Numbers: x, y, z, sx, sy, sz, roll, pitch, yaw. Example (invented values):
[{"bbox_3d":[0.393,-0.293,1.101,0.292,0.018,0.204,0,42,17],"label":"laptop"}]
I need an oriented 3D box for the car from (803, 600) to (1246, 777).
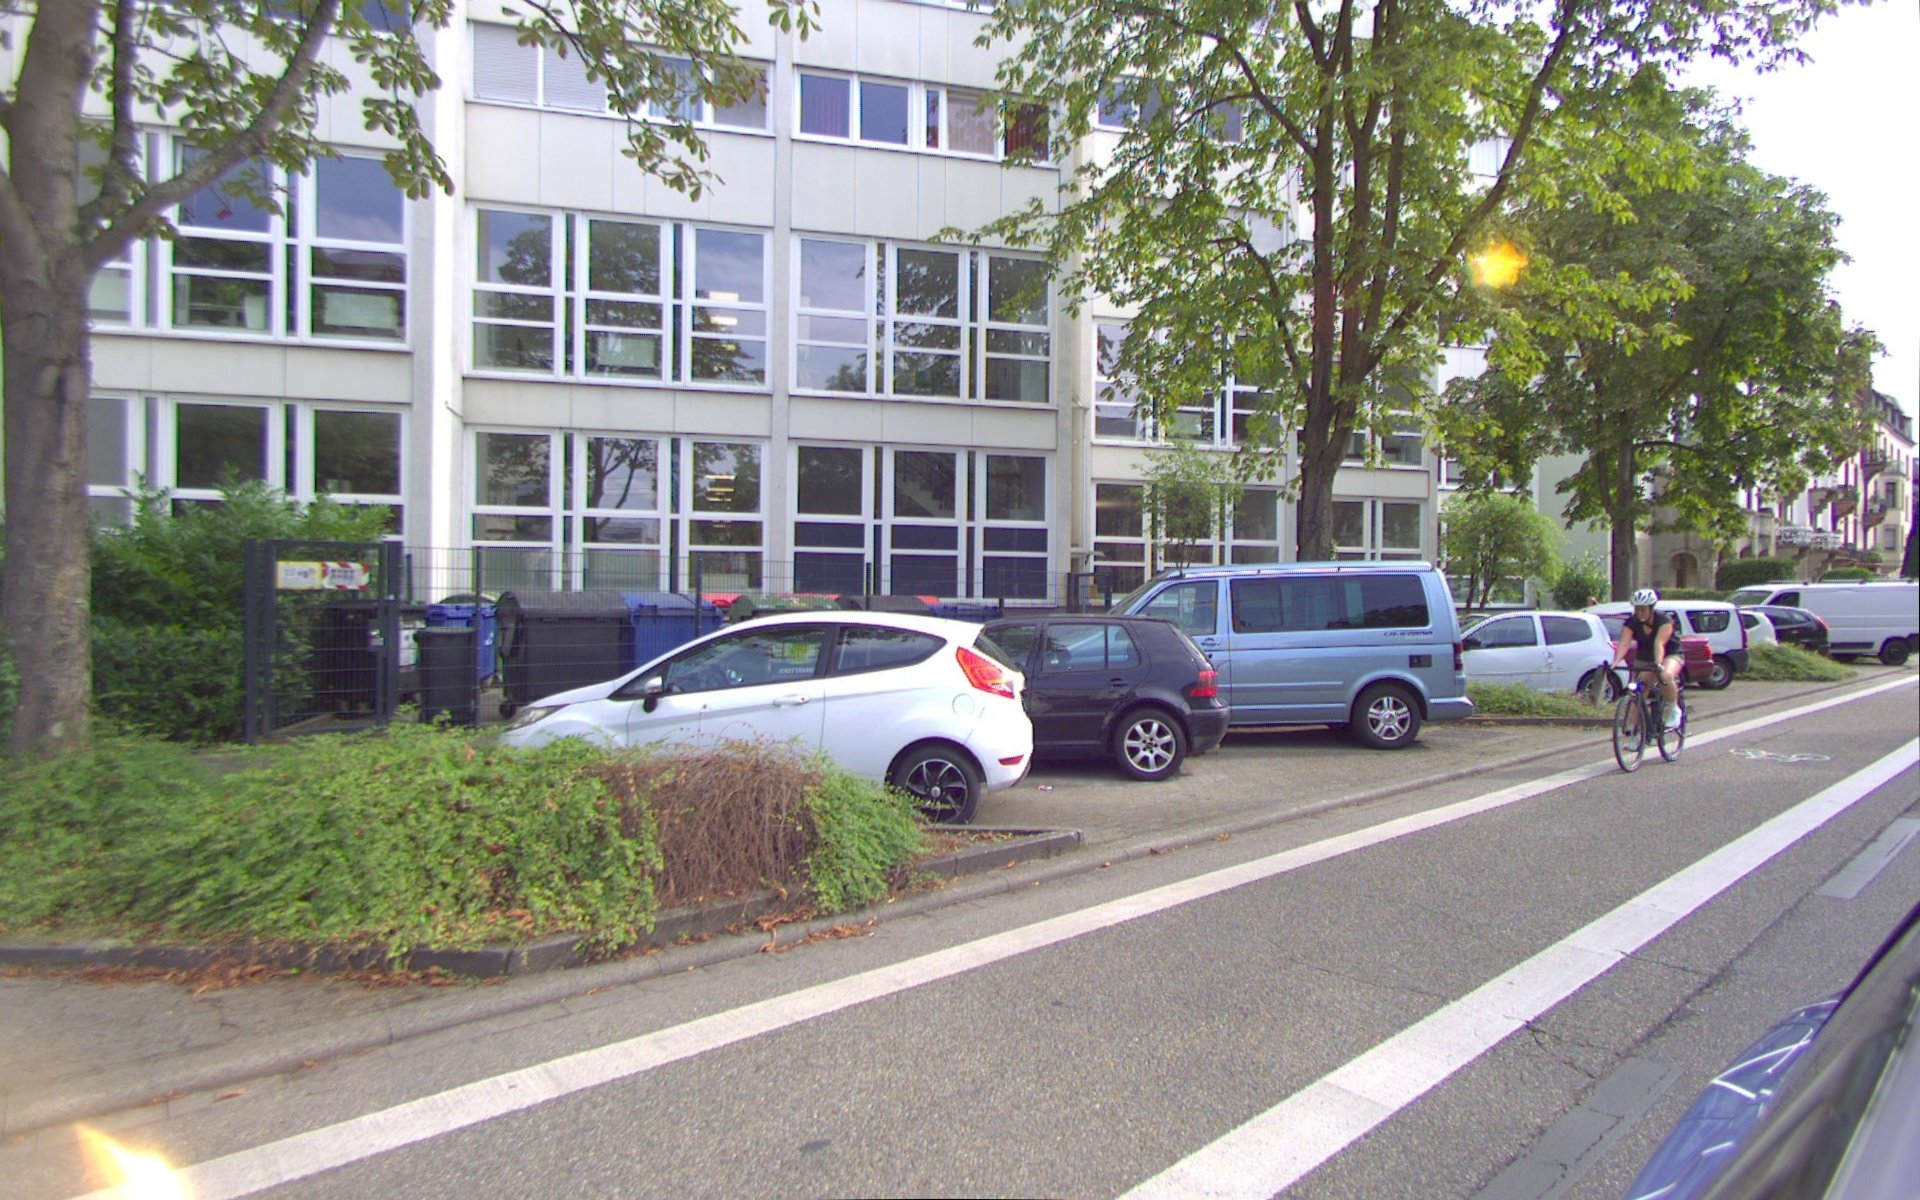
[{"bbox_3d":[0.563,0.747,9.458,3.759,1.478,1.675,0,0,4],"label":"car"}]

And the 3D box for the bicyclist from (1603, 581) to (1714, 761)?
[{"bbox_3d":[6.623,0.627,9.588,1.091,1.590,0.639,1,0,-42],"label":"bicyclist"}]

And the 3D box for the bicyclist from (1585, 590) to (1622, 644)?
[{"bbox_3d":[18.441,0.476,29.004,0.786,1.488,0.649,1,2,-40],"label":"bicyclist"}]

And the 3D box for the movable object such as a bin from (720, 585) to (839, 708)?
[{"bbox_3d":[-2.393,0.585,13.427,1.192,1.527,1.071,1,-1,-39],"label":"movable object such as a bin"}]

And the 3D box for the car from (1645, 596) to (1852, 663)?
[{"bbox_3d":[20.266,0.733,26.157,3.891,1.669,1.687,0,0,6],"label":"car"}]

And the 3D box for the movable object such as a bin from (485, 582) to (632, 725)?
[{"bbox_3d":[-4.602,0.574,11.608,1.310,1.527,1.071,1,-1,-39],"label":"movable object such as a bin"}]

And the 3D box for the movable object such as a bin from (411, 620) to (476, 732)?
[{"bbox_3d":[-5.409,0.772,10.588,0.561,1.117,0.653,0,-1,-31],"label":"movable object such as a bin"}]

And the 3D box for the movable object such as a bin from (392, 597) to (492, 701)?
[{"bbox_3d":[-7.207,0.654,14.147,1.056,1.385,1.037,0,-1,-16],"label":"movable object such as a bin"}]

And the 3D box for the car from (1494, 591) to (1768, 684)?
[{"bbox_3d":[12.782,0.682,19.492,4.036,1.689,1.687,0,0,5],"label":"car"}]

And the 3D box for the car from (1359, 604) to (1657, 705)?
[{"bbox_3d":[8.351,0.798,15.700,3.651,1.451,1.687,0,0,6],"label":"car"}]

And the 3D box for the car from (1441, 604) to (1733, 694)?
[{"bbox_3d":[10.706,0.809,17.546,3.909,1.451,1.685,0,0,8],"label":"car"}]

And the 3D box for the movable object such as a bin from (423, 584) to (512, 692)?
[{"bbox_3d":[-7.502,0.566,15.474,1.056,1.582,1.037,0,-1,-16],"label":"movable object such as a bin"}]

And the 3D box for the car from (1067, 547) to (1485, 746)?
[{"bbox_3d":[3.351,0.476,11.480,4.201,2.040,1.829,0,0,6],"label":"car"}]

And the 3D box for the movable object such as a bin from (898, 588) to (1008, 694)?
[{"bbox_3d":[-0.110,0.598,15.391,1.299,1.527,1.071,1,-1,-39],"label":"movable object such as a bin"}]

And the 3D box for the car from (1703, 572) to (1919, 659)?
[{"bbox_3d":[24.172,0.417,28.303,4.875,2.319,2.380,0,0,8],"label":"car"}]

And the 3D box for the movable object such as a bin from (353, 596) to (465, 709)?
[{"bbox_3d":[-7.067,0.645,13.052,1.056,1.385,1.037,0,-1,-16],"label":"movable object such as a bin"}]

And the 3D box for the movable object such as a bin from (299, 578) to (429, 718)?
[{"bbox_3d":[-6.925,0.537,11.832,1.056,1.542,1.121,0,-1,-16],"label":"movable object such as a bin"}]

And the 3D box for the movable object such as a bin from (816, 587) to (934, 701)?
[{"bbox_3d":[-1.212,0.592,14.421,1.299,1.527,1.071,1,-1,-39],"label":"movable object such as a bin"}]

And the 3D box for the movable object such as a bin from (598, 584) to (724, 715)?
[{"bbox_3d":[-3.710,0.580,12.556,1.192,1.527,1.071,1,-1,-39],"label":"movable object such as a bin"}]

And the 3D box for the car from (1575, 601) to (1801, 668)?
[{"bbox_3d":[17.214,0.791,24.093,4.020,1.530,1.687,0,0,6],"label":"car"}]

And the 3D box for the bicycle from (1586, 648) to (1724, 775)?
[{"bbox_3d":[6.606,0.997,9.569,2.036,0.993,0.639,0,0,-43],"label":"bicycle"}]

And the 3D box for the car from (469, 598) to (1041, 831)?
[{"bbox_3d":[-1.322,0.733,7.376,3.759,1.478,1.639,0,0,4],"label":"car"}]
